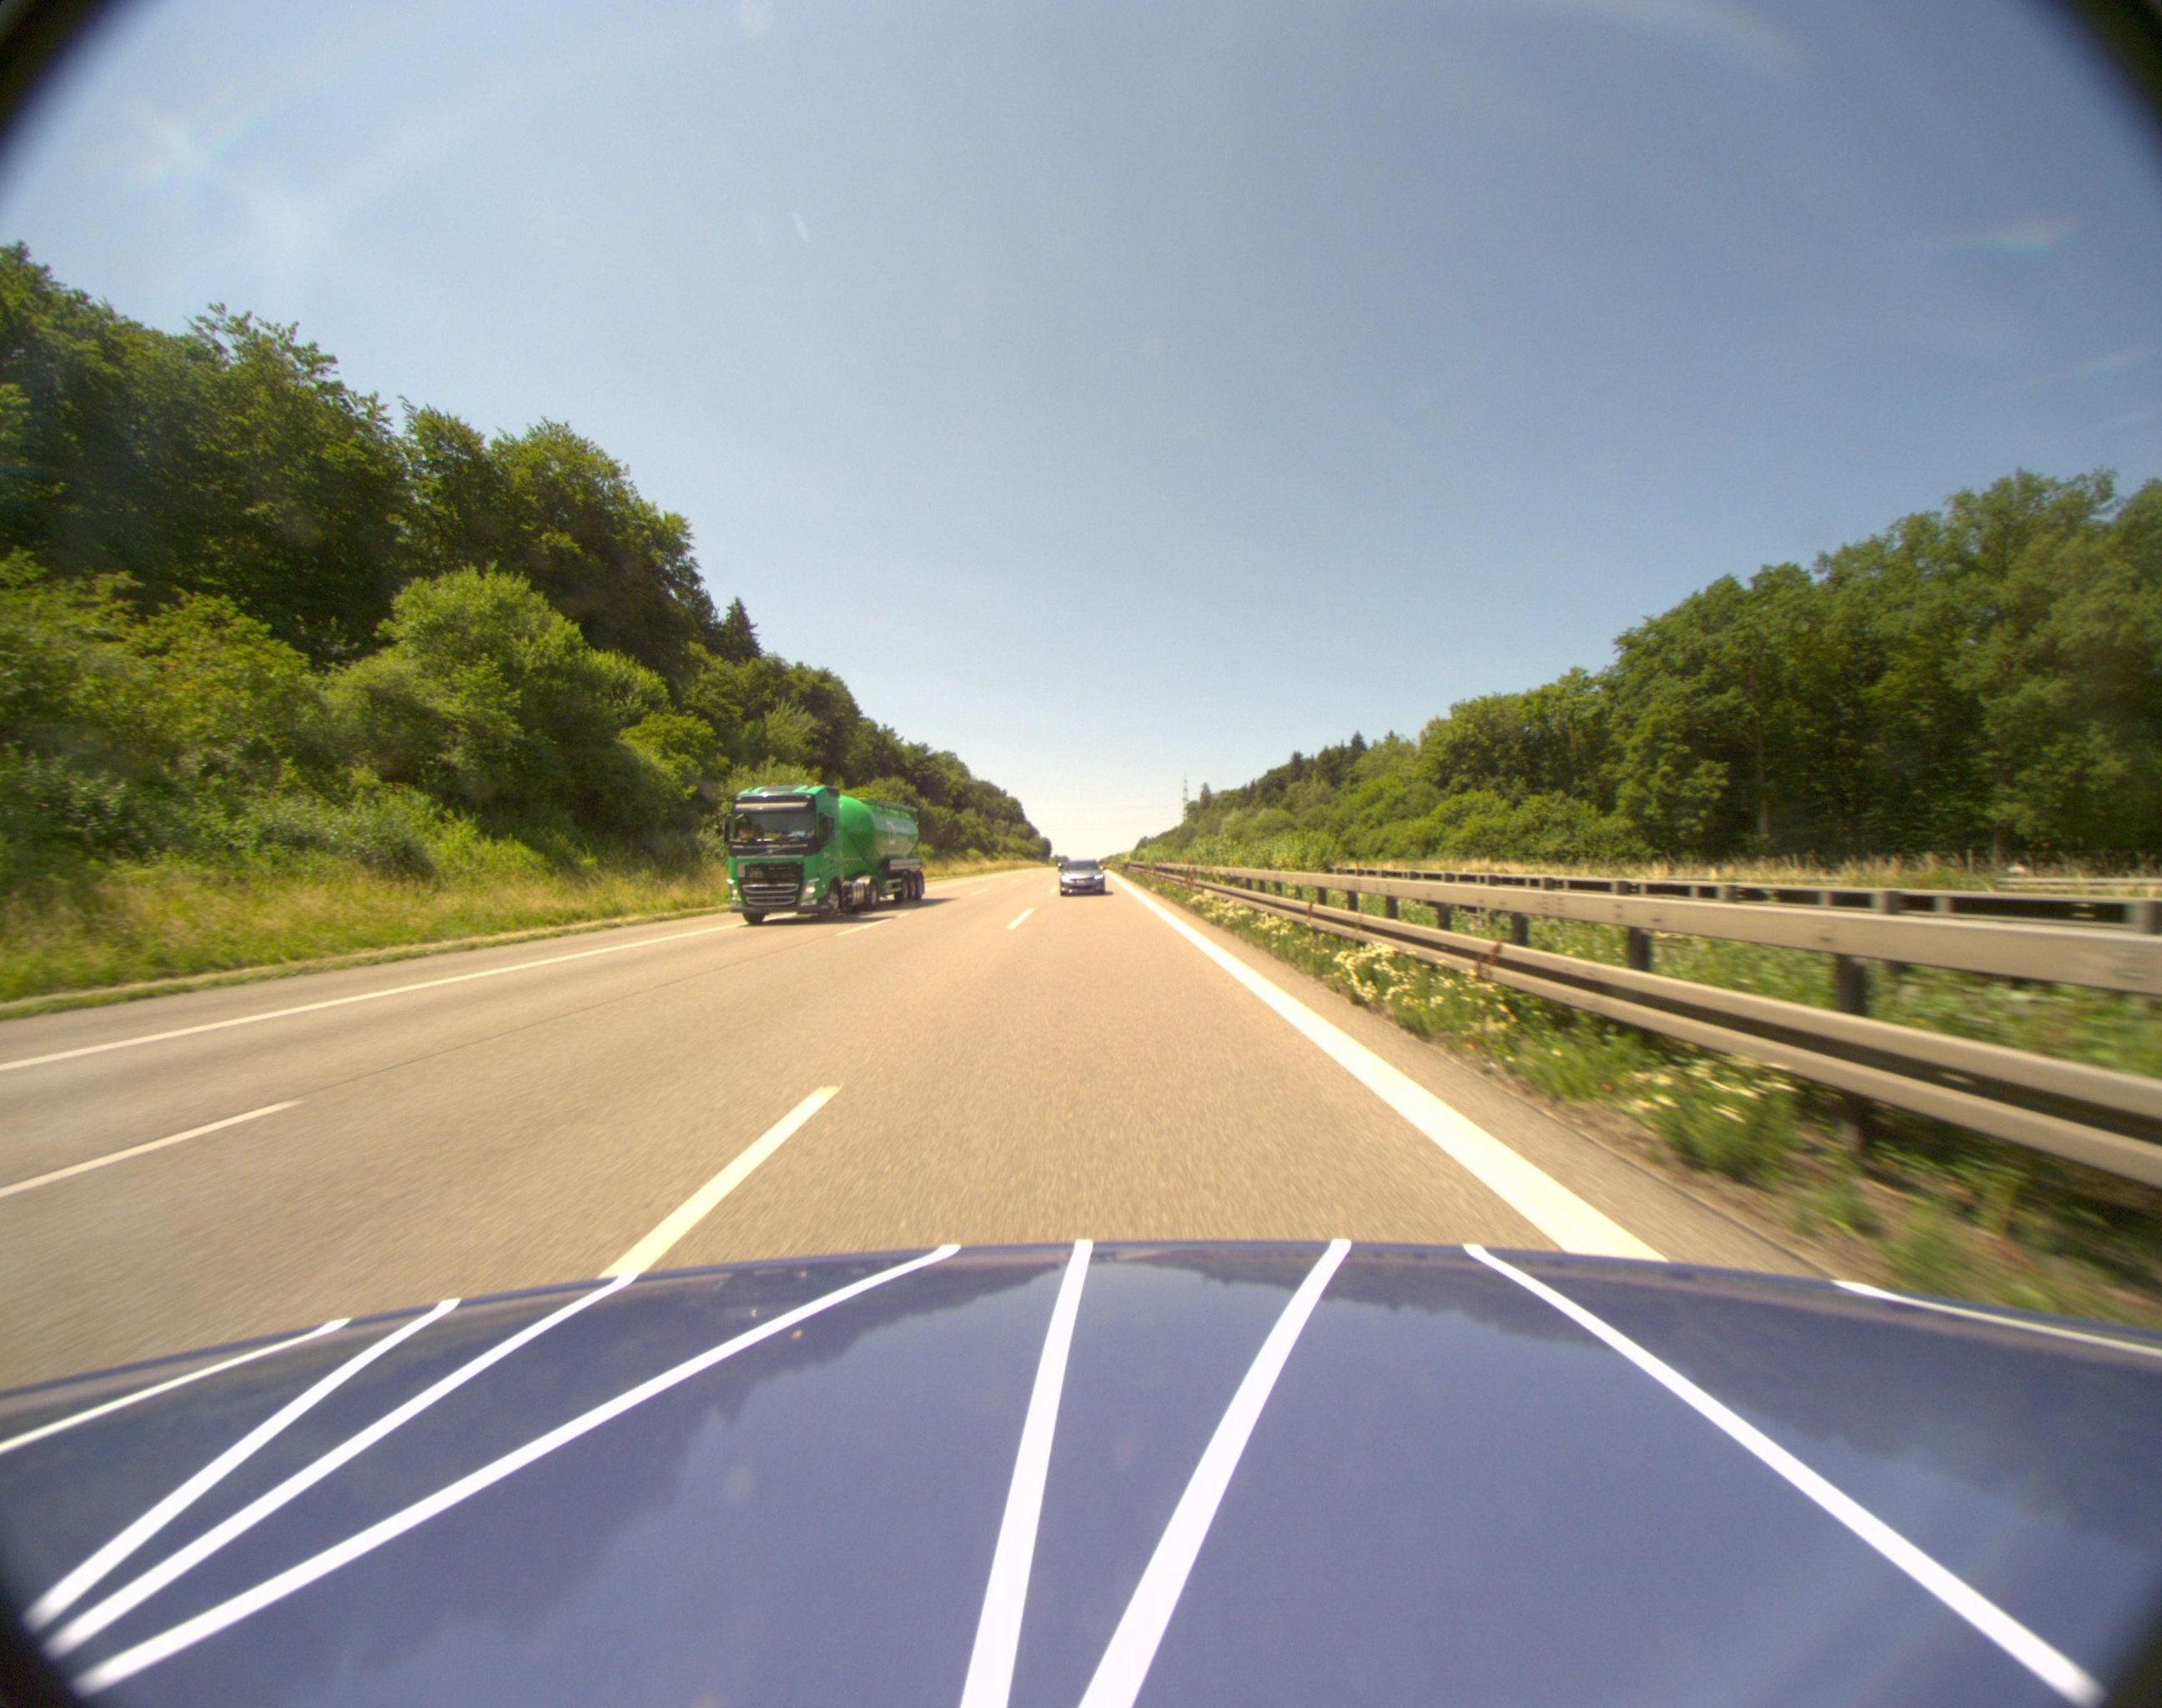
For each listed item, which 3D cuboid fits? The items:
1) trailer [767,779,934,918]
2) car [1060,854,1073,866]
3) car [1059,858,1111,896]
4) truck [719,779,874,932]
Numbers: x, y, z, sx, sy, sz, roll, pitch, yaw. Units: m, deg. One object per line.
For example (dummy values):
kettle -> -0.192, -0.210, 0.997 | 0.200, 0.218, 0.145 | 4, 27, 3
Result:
trailer -> -7.856, -0.110, 27.771 | 2.594, 4.004, 10.471 | -2, -1, 1
car -> -2.137, 0.891, 109.316 | 1.788, 1.550, 3.943 | -2, -1, -1
car -> 0.234, 0.905, 31.428 | 1.767, 1.400, 4.001 | -2, -1, 5
truck -> -7.930, 0.063, 21.876 | 2.516, 3.819, 4.892 | -2, 0, -1
